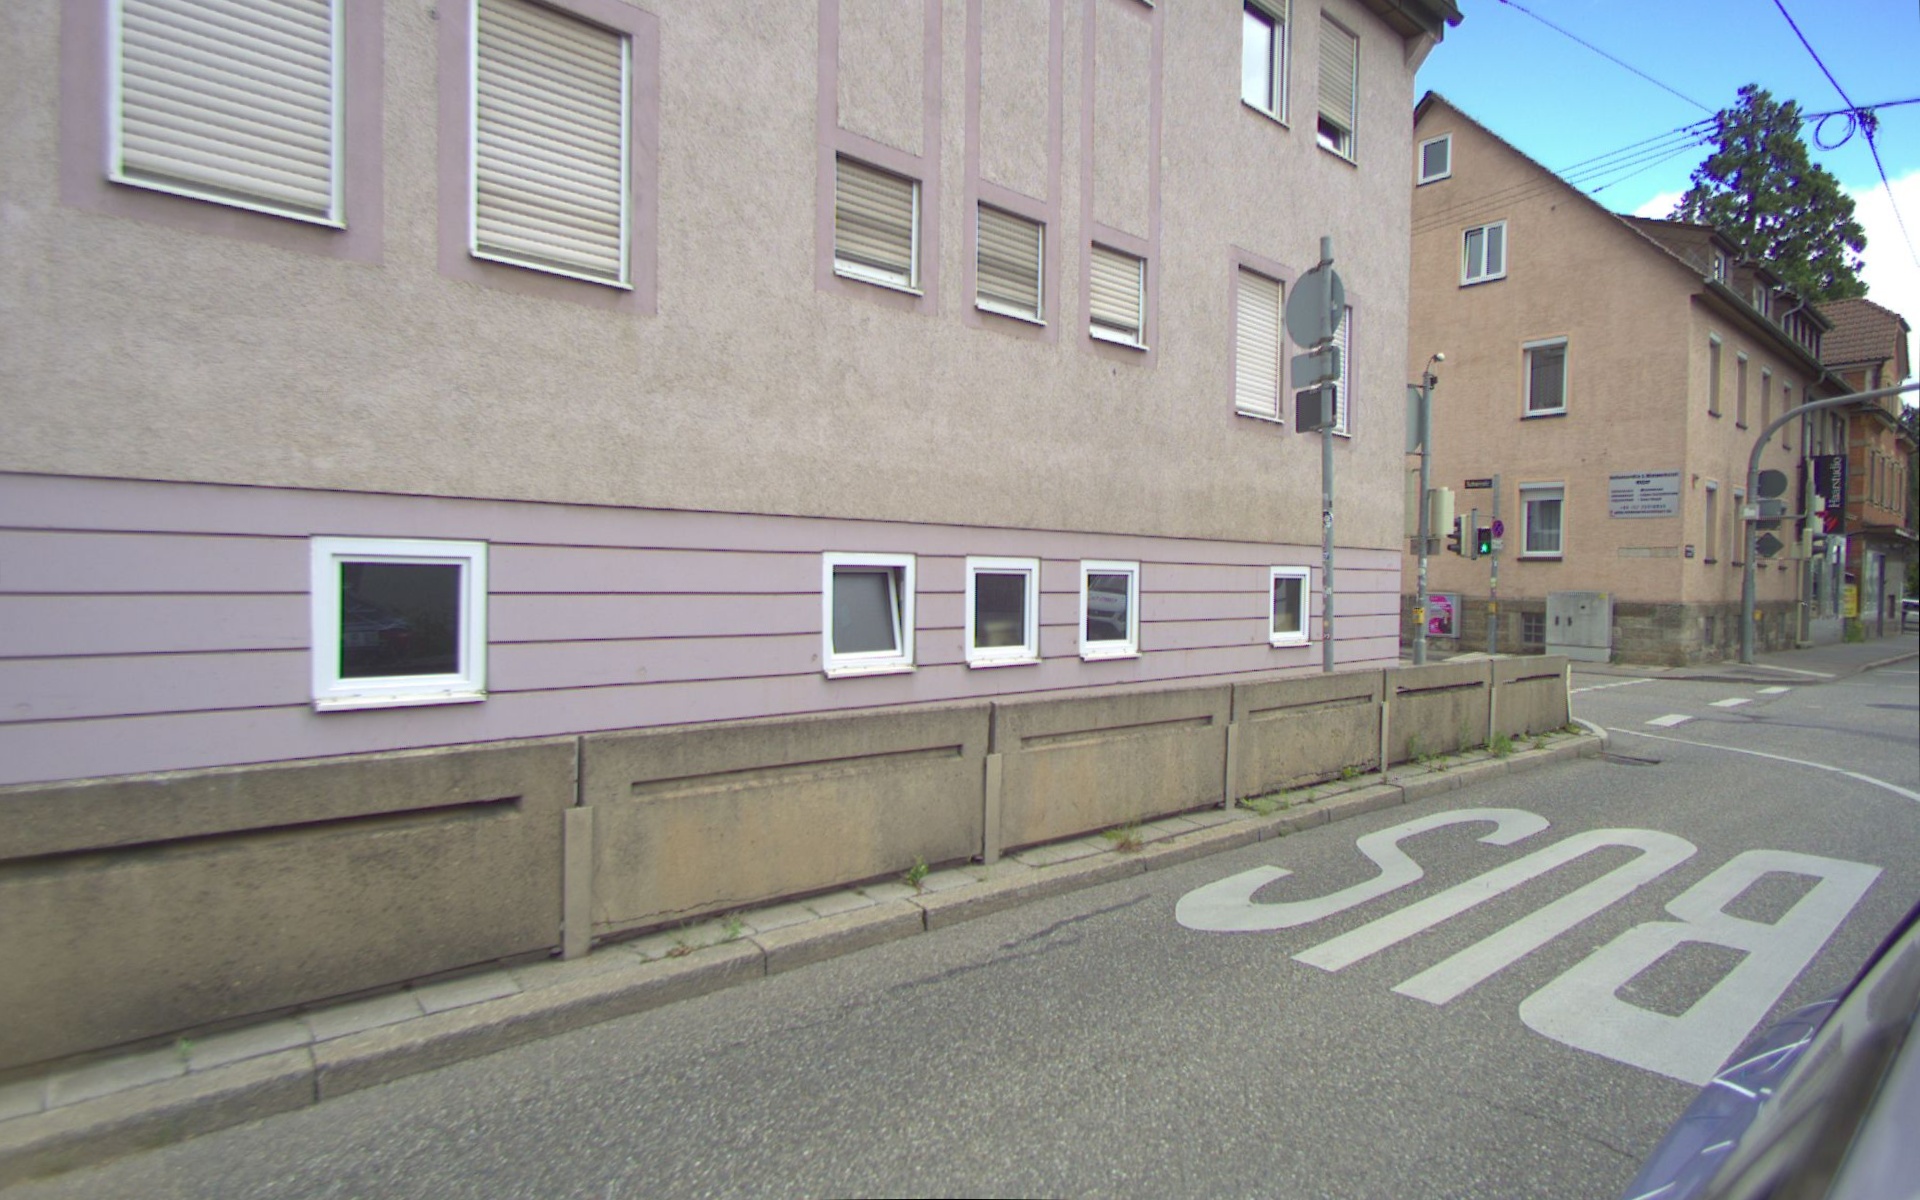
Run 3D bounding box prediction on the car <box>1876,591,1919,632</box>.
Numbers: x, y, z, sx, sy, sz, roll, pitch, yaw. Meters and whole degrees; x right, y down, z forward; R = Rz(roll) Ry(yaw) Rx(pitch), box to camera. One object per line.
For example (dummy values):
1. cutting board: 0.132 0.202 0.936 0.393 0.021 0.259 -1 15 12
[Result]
1. car: 41.668 0.487 43.069 3.986 1.705 1.810 0 0 44
